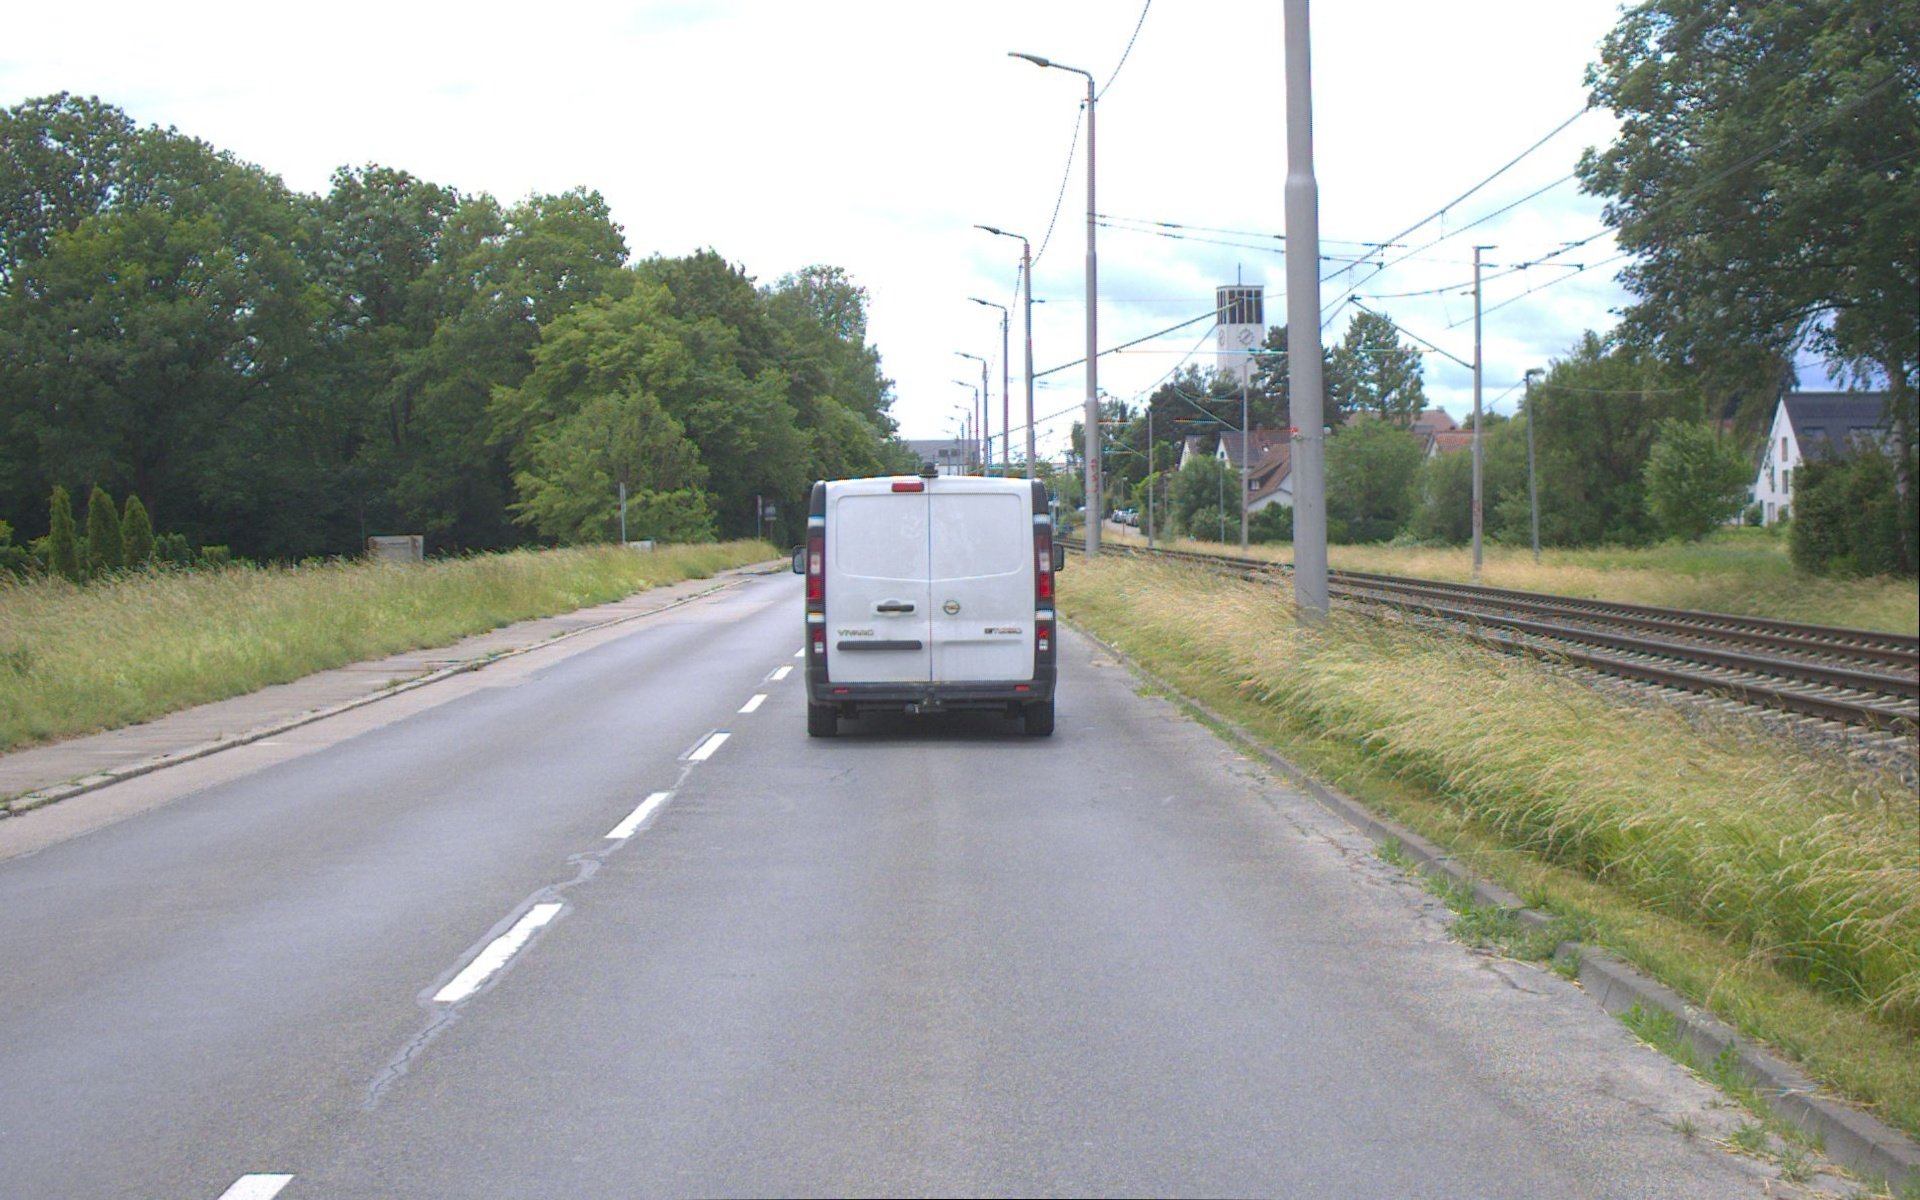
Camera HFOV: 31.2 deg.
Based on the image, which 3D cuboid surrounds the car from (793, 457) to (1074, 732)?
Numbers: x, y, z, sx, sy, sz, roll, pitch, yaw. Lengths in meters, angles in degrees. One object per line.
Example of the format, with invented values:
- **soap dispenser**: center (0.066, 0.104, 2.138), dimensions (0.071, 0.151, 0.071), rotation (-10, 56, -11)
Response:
- **car**: center (-0.244, -0.087, 26.607), dimensions (1.993, 1.950, 4.001), rotation (-1, 1, -1)
